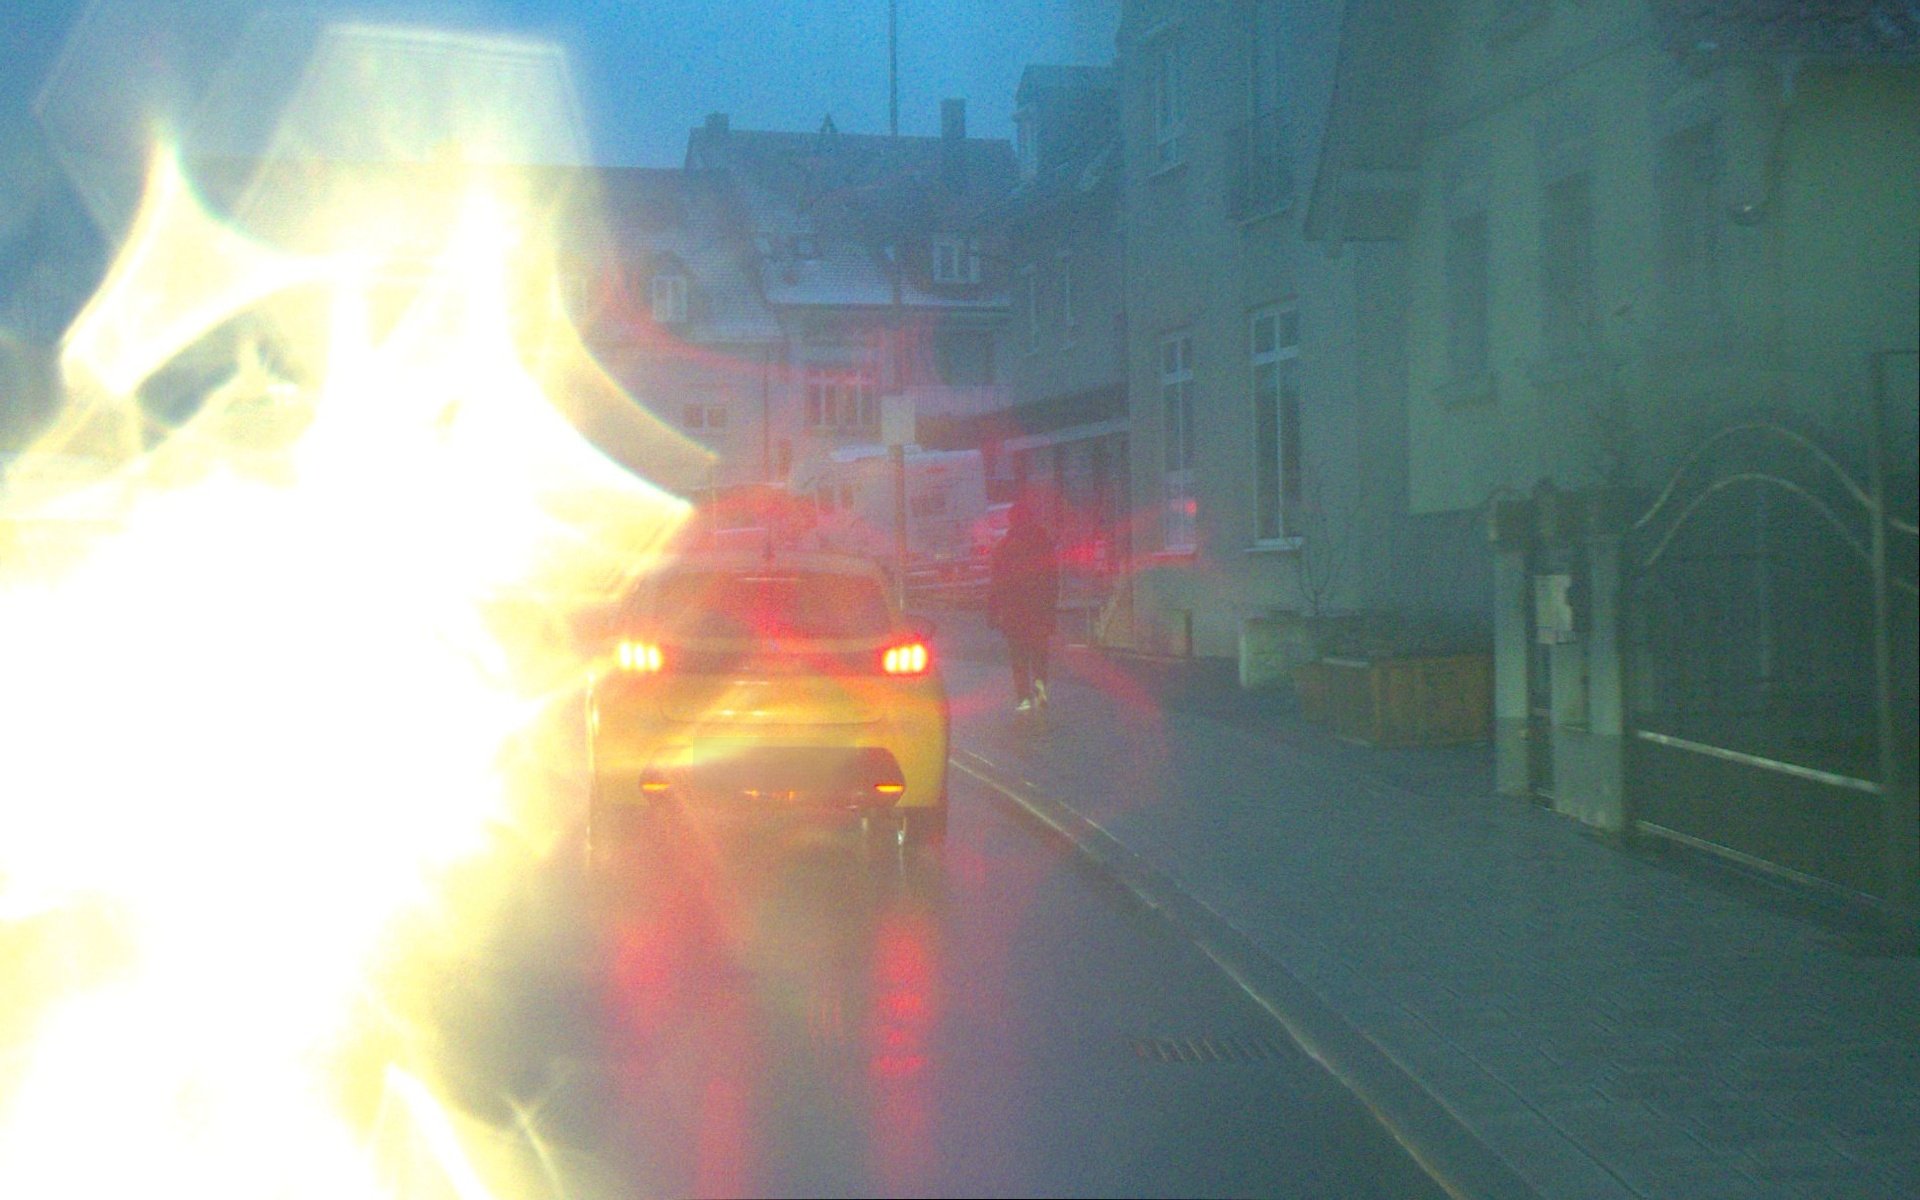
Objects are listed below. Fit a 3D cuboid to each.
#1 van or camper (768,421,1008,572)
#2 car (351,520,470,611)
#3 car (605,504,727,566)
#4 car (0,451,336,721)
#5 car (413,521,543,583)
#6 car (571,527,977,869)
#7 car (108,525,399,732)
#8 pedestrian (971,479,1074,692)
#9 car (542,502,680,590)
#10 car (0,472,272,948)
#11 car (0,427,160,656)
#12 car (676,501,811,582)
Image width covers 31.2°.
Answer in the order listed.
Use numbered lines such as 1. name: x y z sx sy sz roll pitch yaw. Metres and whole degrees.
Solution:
1. van or camper: -1.674 -2.253 75.723 2.650 3.037 6.736 -5 3 -25
2. car: -9.991 -0.636 62.314 1.993 1.583 4.001 0 1 -11
3. car: -7.437 -1.661 86.542 1.822 1.457 4.550 -3 3 -21
4. car: -5.042 -0.161 21.985 1.857 1.550 4.259 -1 2 -8
5. car: -11.671 -1.177 83.051 1.886 1.457 3.634 -1 2 -30
6. car: -1.042 0.411 17.442 1.814 1.528 4.001 1 1 -6
7. car: -5.851 0.174 28.935 1.993 1.550 4.259 -1 2 -6
8. pedestrian: 0.514 -0.133 28.348 0.745 1.723 0.873 -1 2 -5
9. car: -7.585 -1.192 74.392 1.993 1.759 4.352 -3 2 -19
10. car: -4.034 0.333 14.304 1.951 1.541 4.417 -2 4 -7
11. car: -11.268 -0.692 41.845 2.485 2.551 6.763 1 0 -9
12. car: -4.742 -1.252 74.854 1.993 1.605 4.175 -3 1 -16
